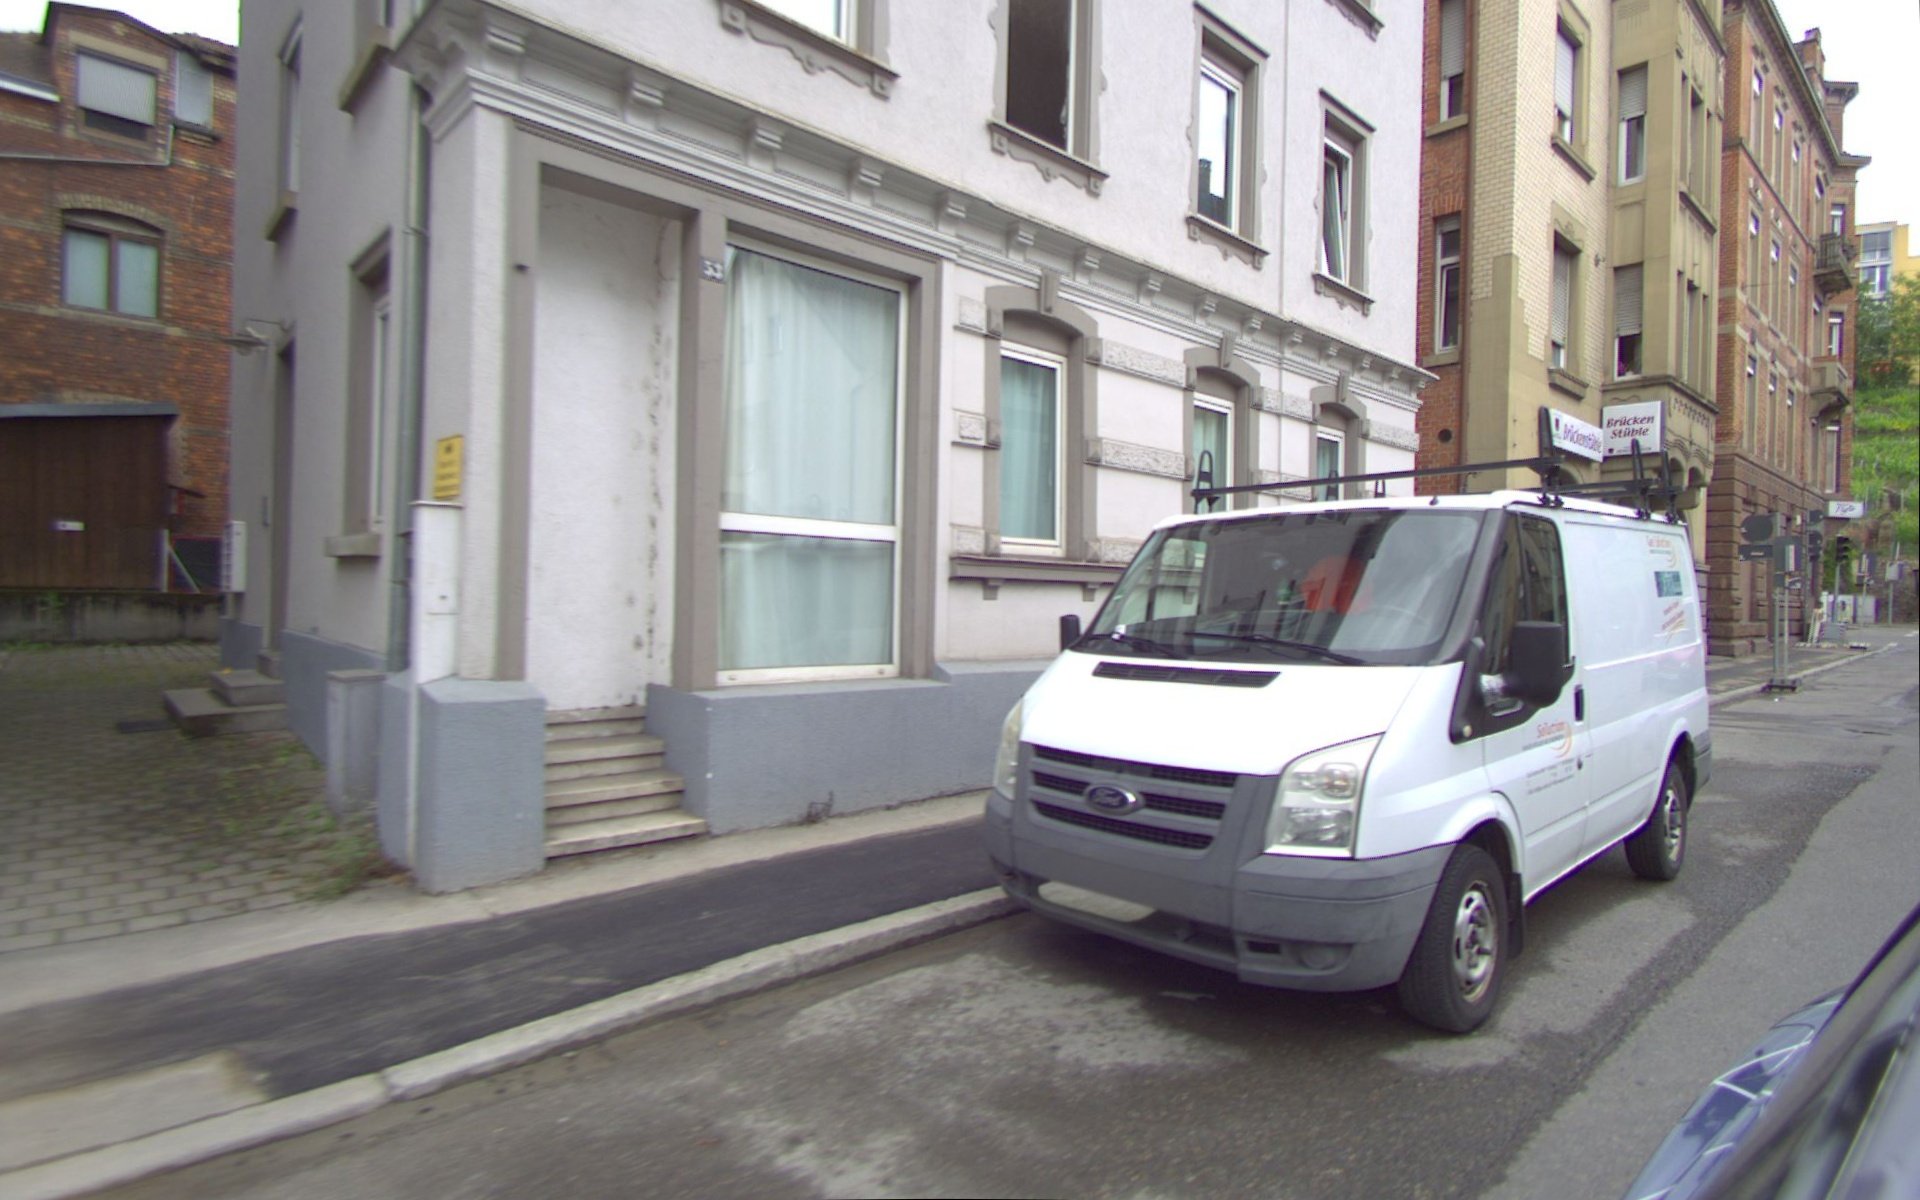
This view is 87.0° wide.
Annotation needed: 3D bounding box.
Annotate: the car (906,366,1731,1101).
[{"bbox_3d":[2.195,0.344,5.146,4.796,2.006,1.996,0,1,-43],"label":"car"}]
